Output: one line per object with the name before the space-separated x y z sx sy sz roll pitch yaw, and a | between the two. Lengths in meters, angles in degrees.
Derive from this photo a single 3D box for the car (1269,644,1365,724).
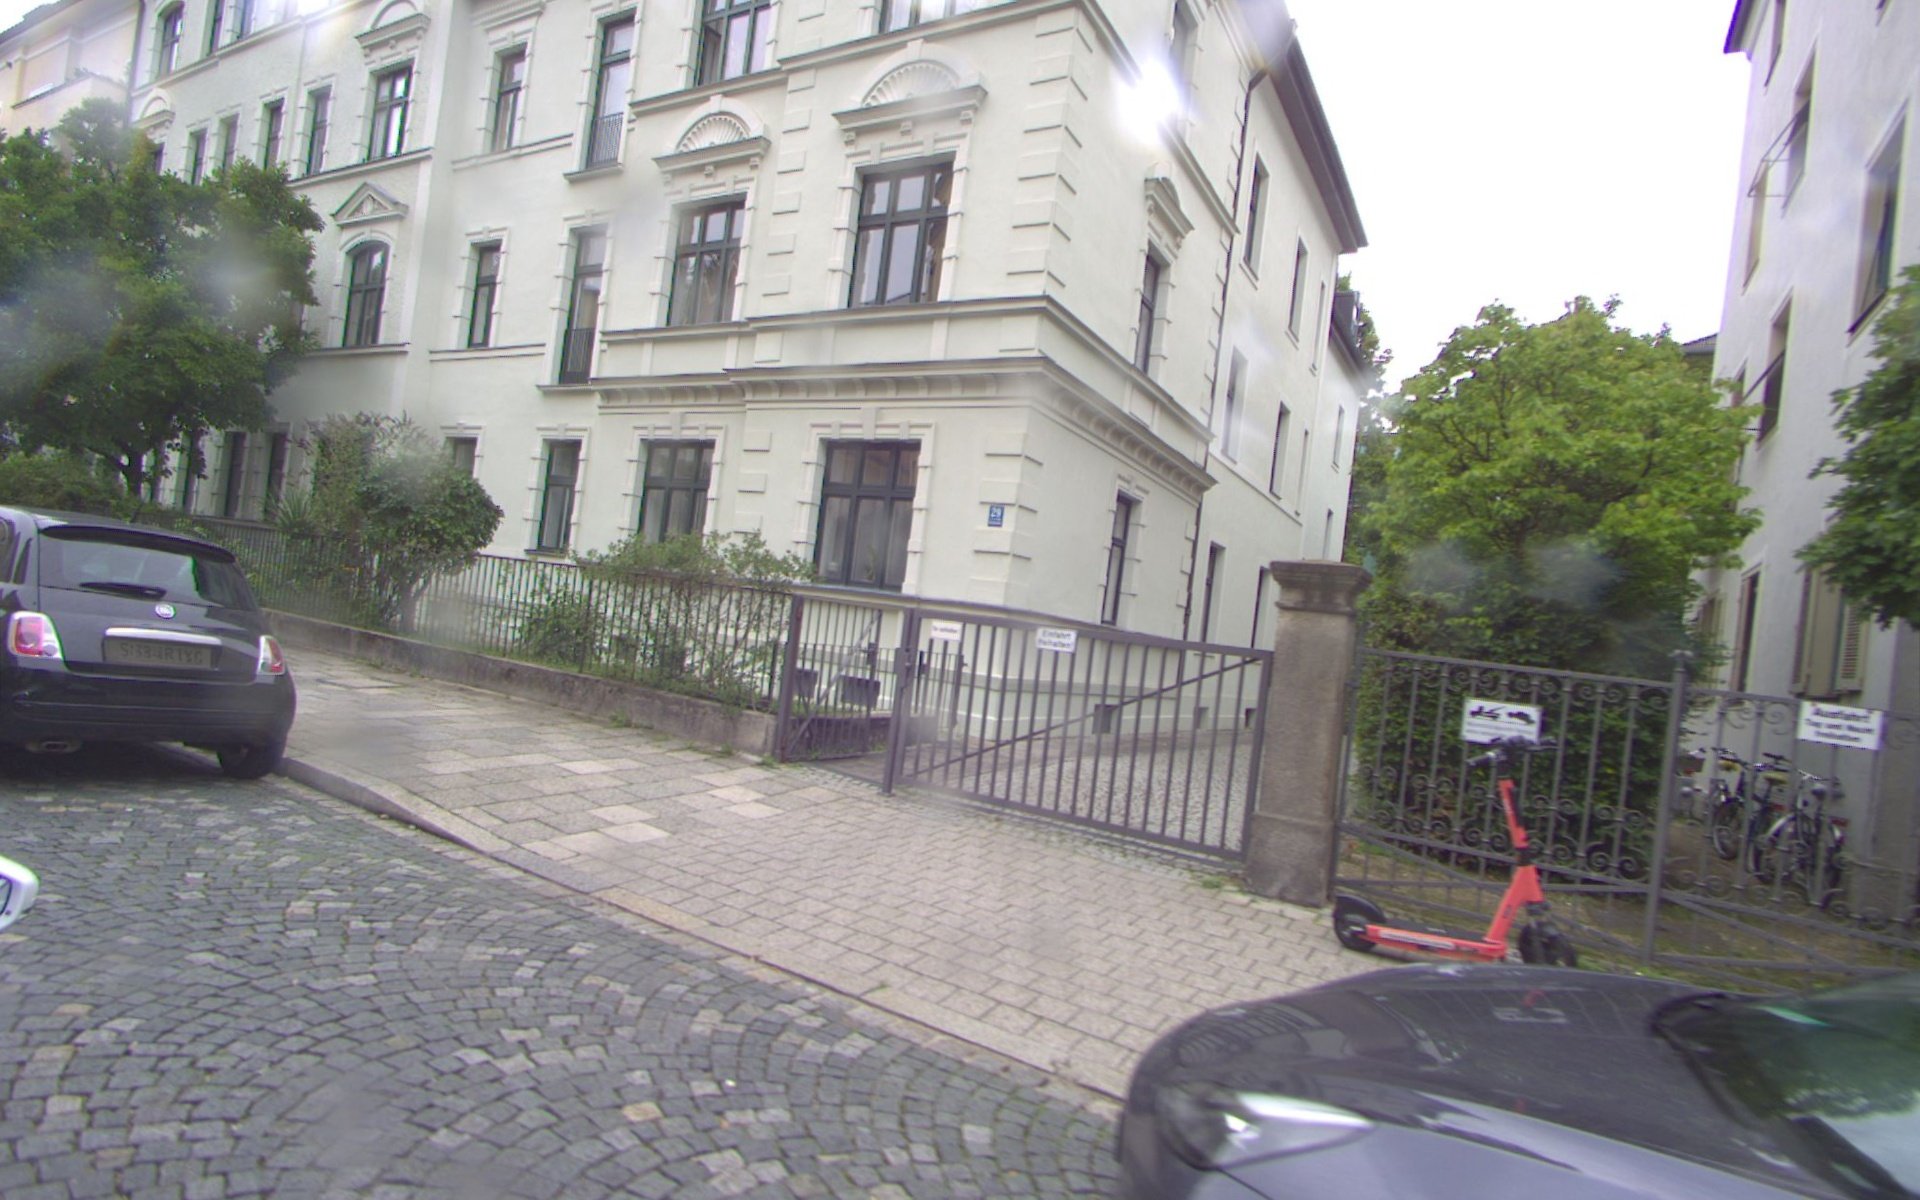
car | 10.687 2.426 29.926 1.966 2.039 3.993 5 0 28

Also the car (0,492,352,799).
car | -5.947 0.160 6.617 3.624 1.524 1.672 7 -4 31

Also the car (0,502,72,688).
car | -10.403 -0.361 9.217 5.021 1.519 1.910 7 -4 32

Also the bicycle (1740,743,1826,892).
bicycle | 7.682 1.986 9.423 0.393 1.231 1.341 6 -3 34

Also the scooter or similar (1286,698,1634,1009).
scooter or similar | 2.534 1.240 5.219 1.445 1.234 0.442 6 5 28

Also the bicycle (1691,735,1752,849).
bicycle | 9.033 2.245 11.957 0.393 1.231 1.341 6 -3 34

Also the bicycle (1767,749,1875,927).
bicycle | 6.958 1.870 8.173 0.393 1.231 1.448 6 -2 34

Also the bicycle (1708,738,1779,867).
bicycle | 8.313 2.110 10.699 0.393 1.231 1.341 6 -3 34

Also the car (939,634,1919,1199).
car | 2.360 1.125 1.390 4.459 1.481 1.941 7 -3 34
